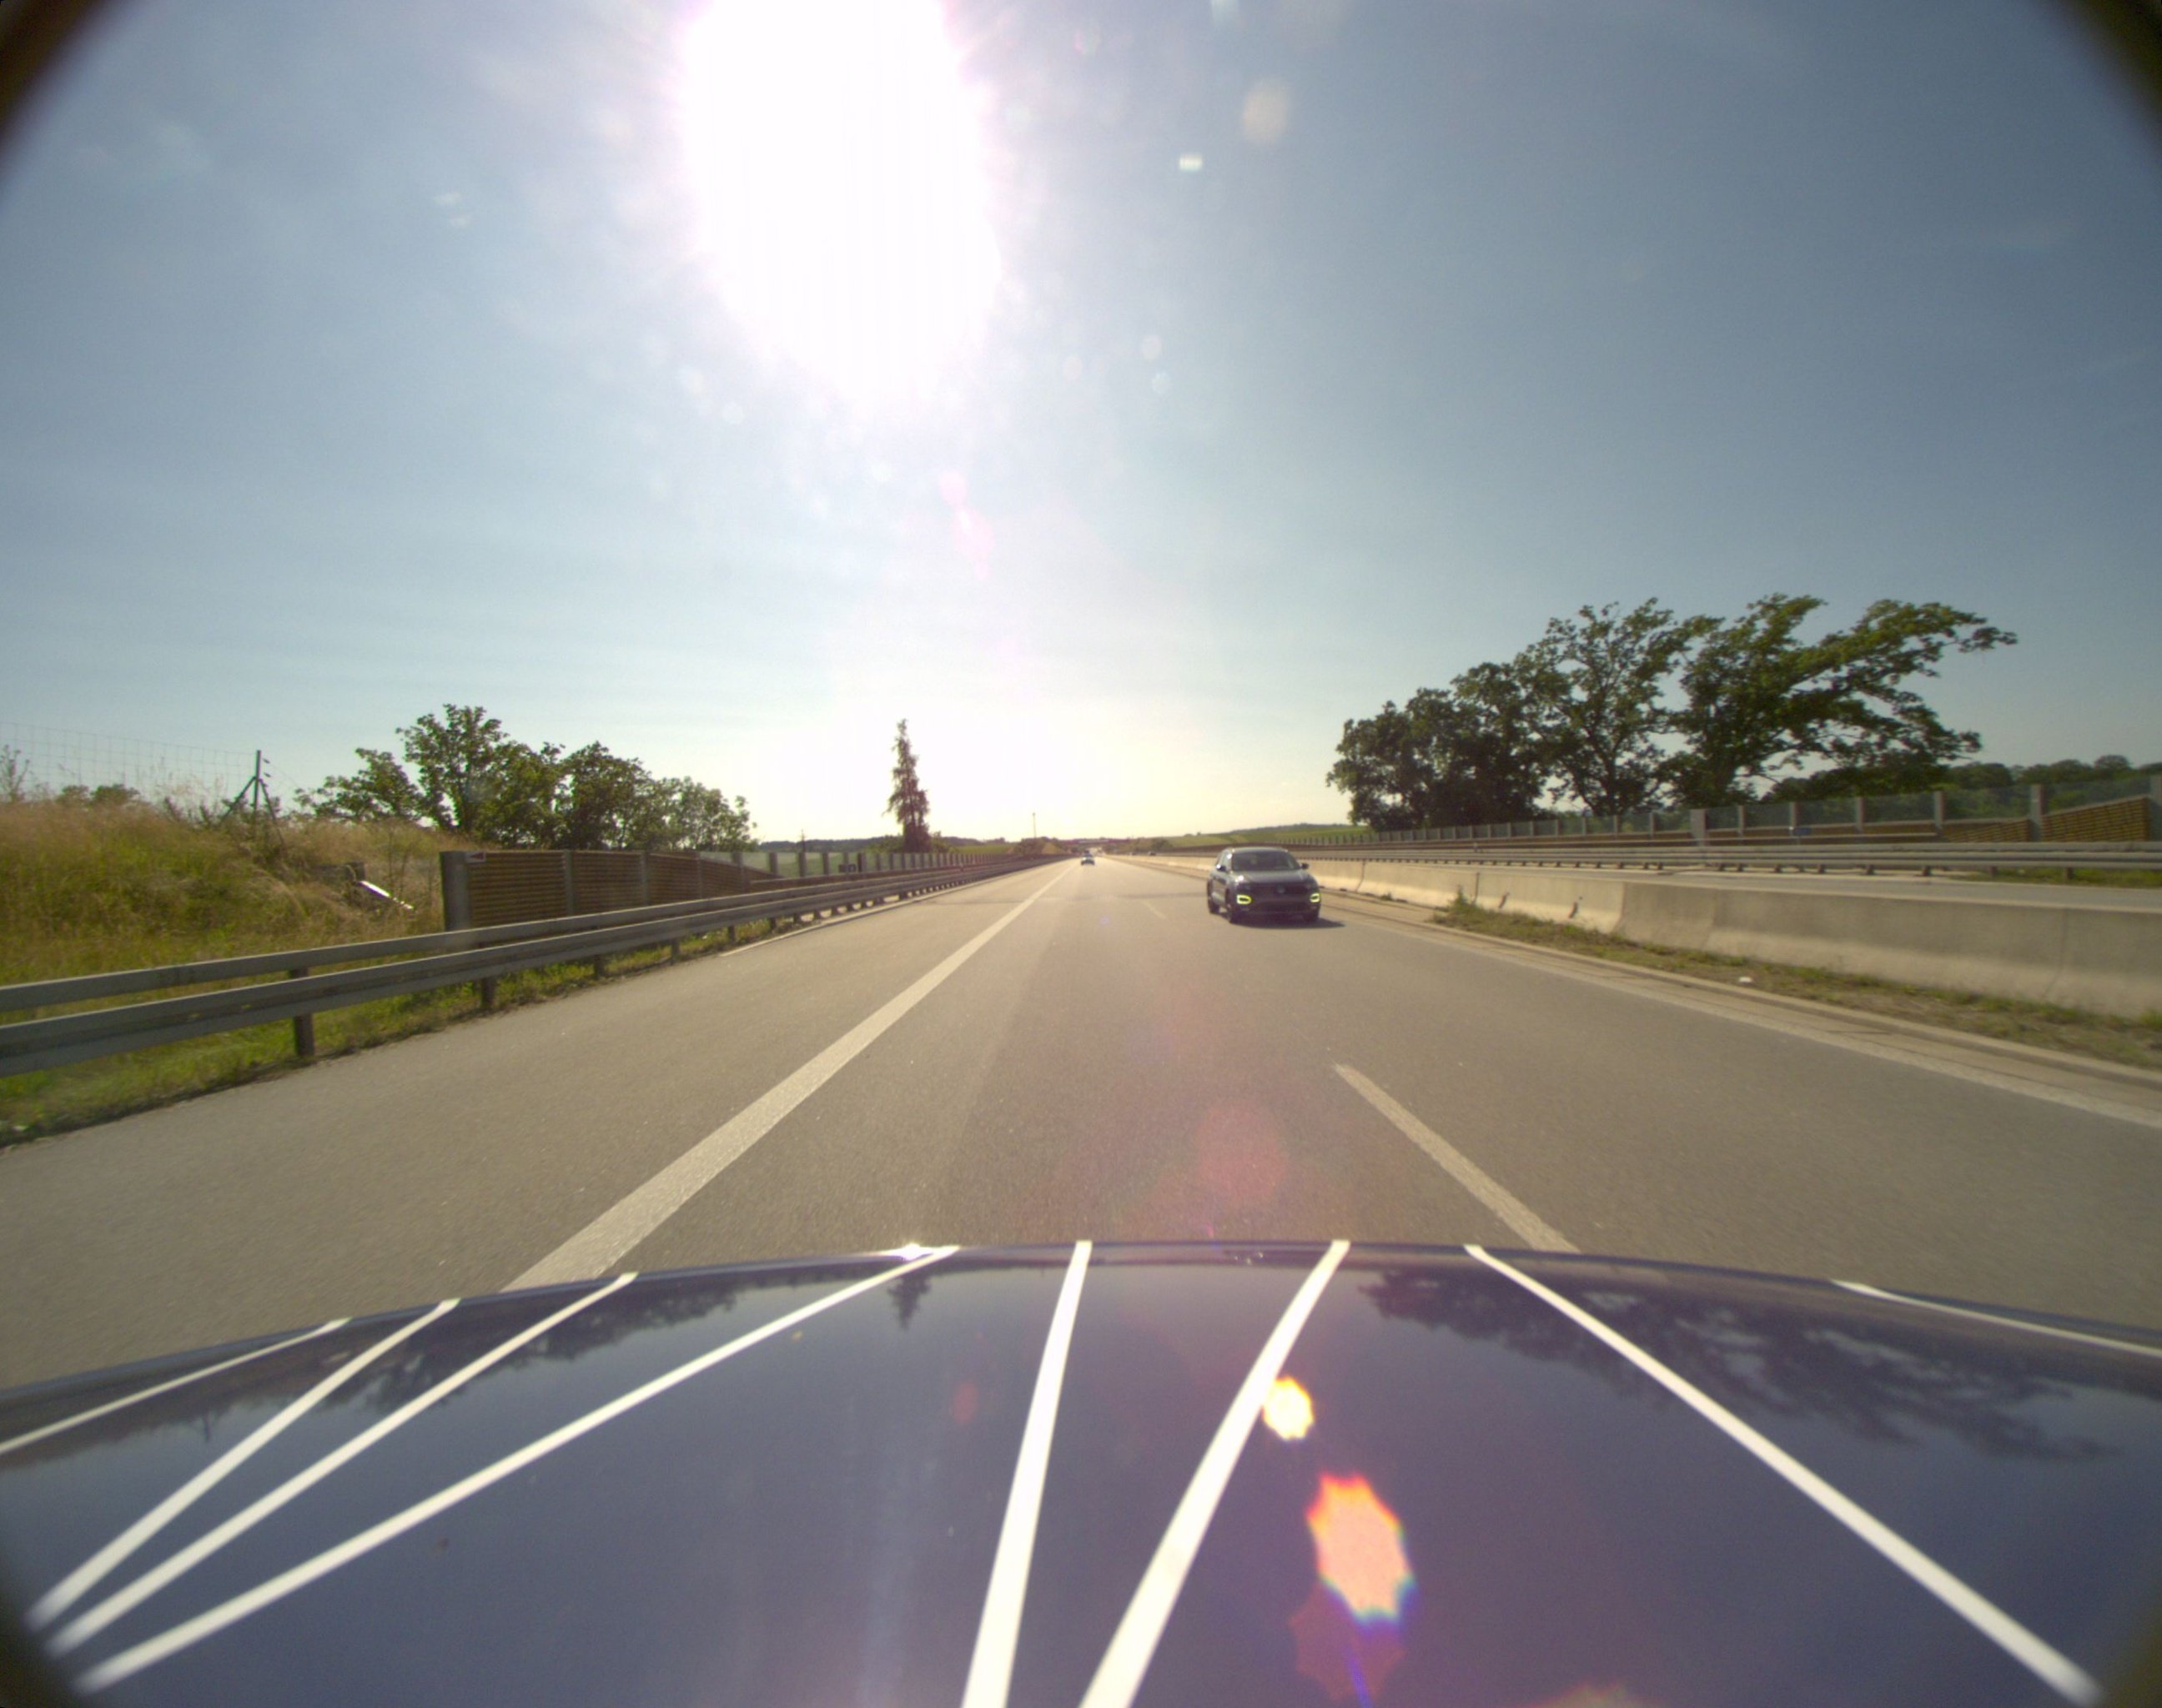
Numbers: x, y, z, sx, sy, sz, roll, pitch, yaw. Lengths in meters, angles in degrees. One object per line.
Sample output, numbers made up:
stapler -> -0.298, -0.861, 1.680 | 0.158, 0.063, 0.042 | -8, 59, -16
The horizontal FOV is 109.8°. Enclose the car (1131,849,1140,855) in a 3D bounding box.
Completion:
car -> 12.615, -0.460, 176.230 | 1.731, 1.494, 4.624 | -2, 0, 0

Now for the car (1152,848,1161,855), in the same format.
car -> 16.822, -0.561, 169.728 | 1.583, 1.449, 4.449 | -2, 0, 0

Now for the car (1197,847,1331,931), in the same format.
car -> 3.892, 0.659, 17.101 | 1.777, 1.560, 4.988 | -2, 0, 0

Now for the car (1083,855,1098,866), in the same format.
car -> 1.361, 0.850, 103.528 | 1.909, 1.449, 4.376 | -2, 0, 2
